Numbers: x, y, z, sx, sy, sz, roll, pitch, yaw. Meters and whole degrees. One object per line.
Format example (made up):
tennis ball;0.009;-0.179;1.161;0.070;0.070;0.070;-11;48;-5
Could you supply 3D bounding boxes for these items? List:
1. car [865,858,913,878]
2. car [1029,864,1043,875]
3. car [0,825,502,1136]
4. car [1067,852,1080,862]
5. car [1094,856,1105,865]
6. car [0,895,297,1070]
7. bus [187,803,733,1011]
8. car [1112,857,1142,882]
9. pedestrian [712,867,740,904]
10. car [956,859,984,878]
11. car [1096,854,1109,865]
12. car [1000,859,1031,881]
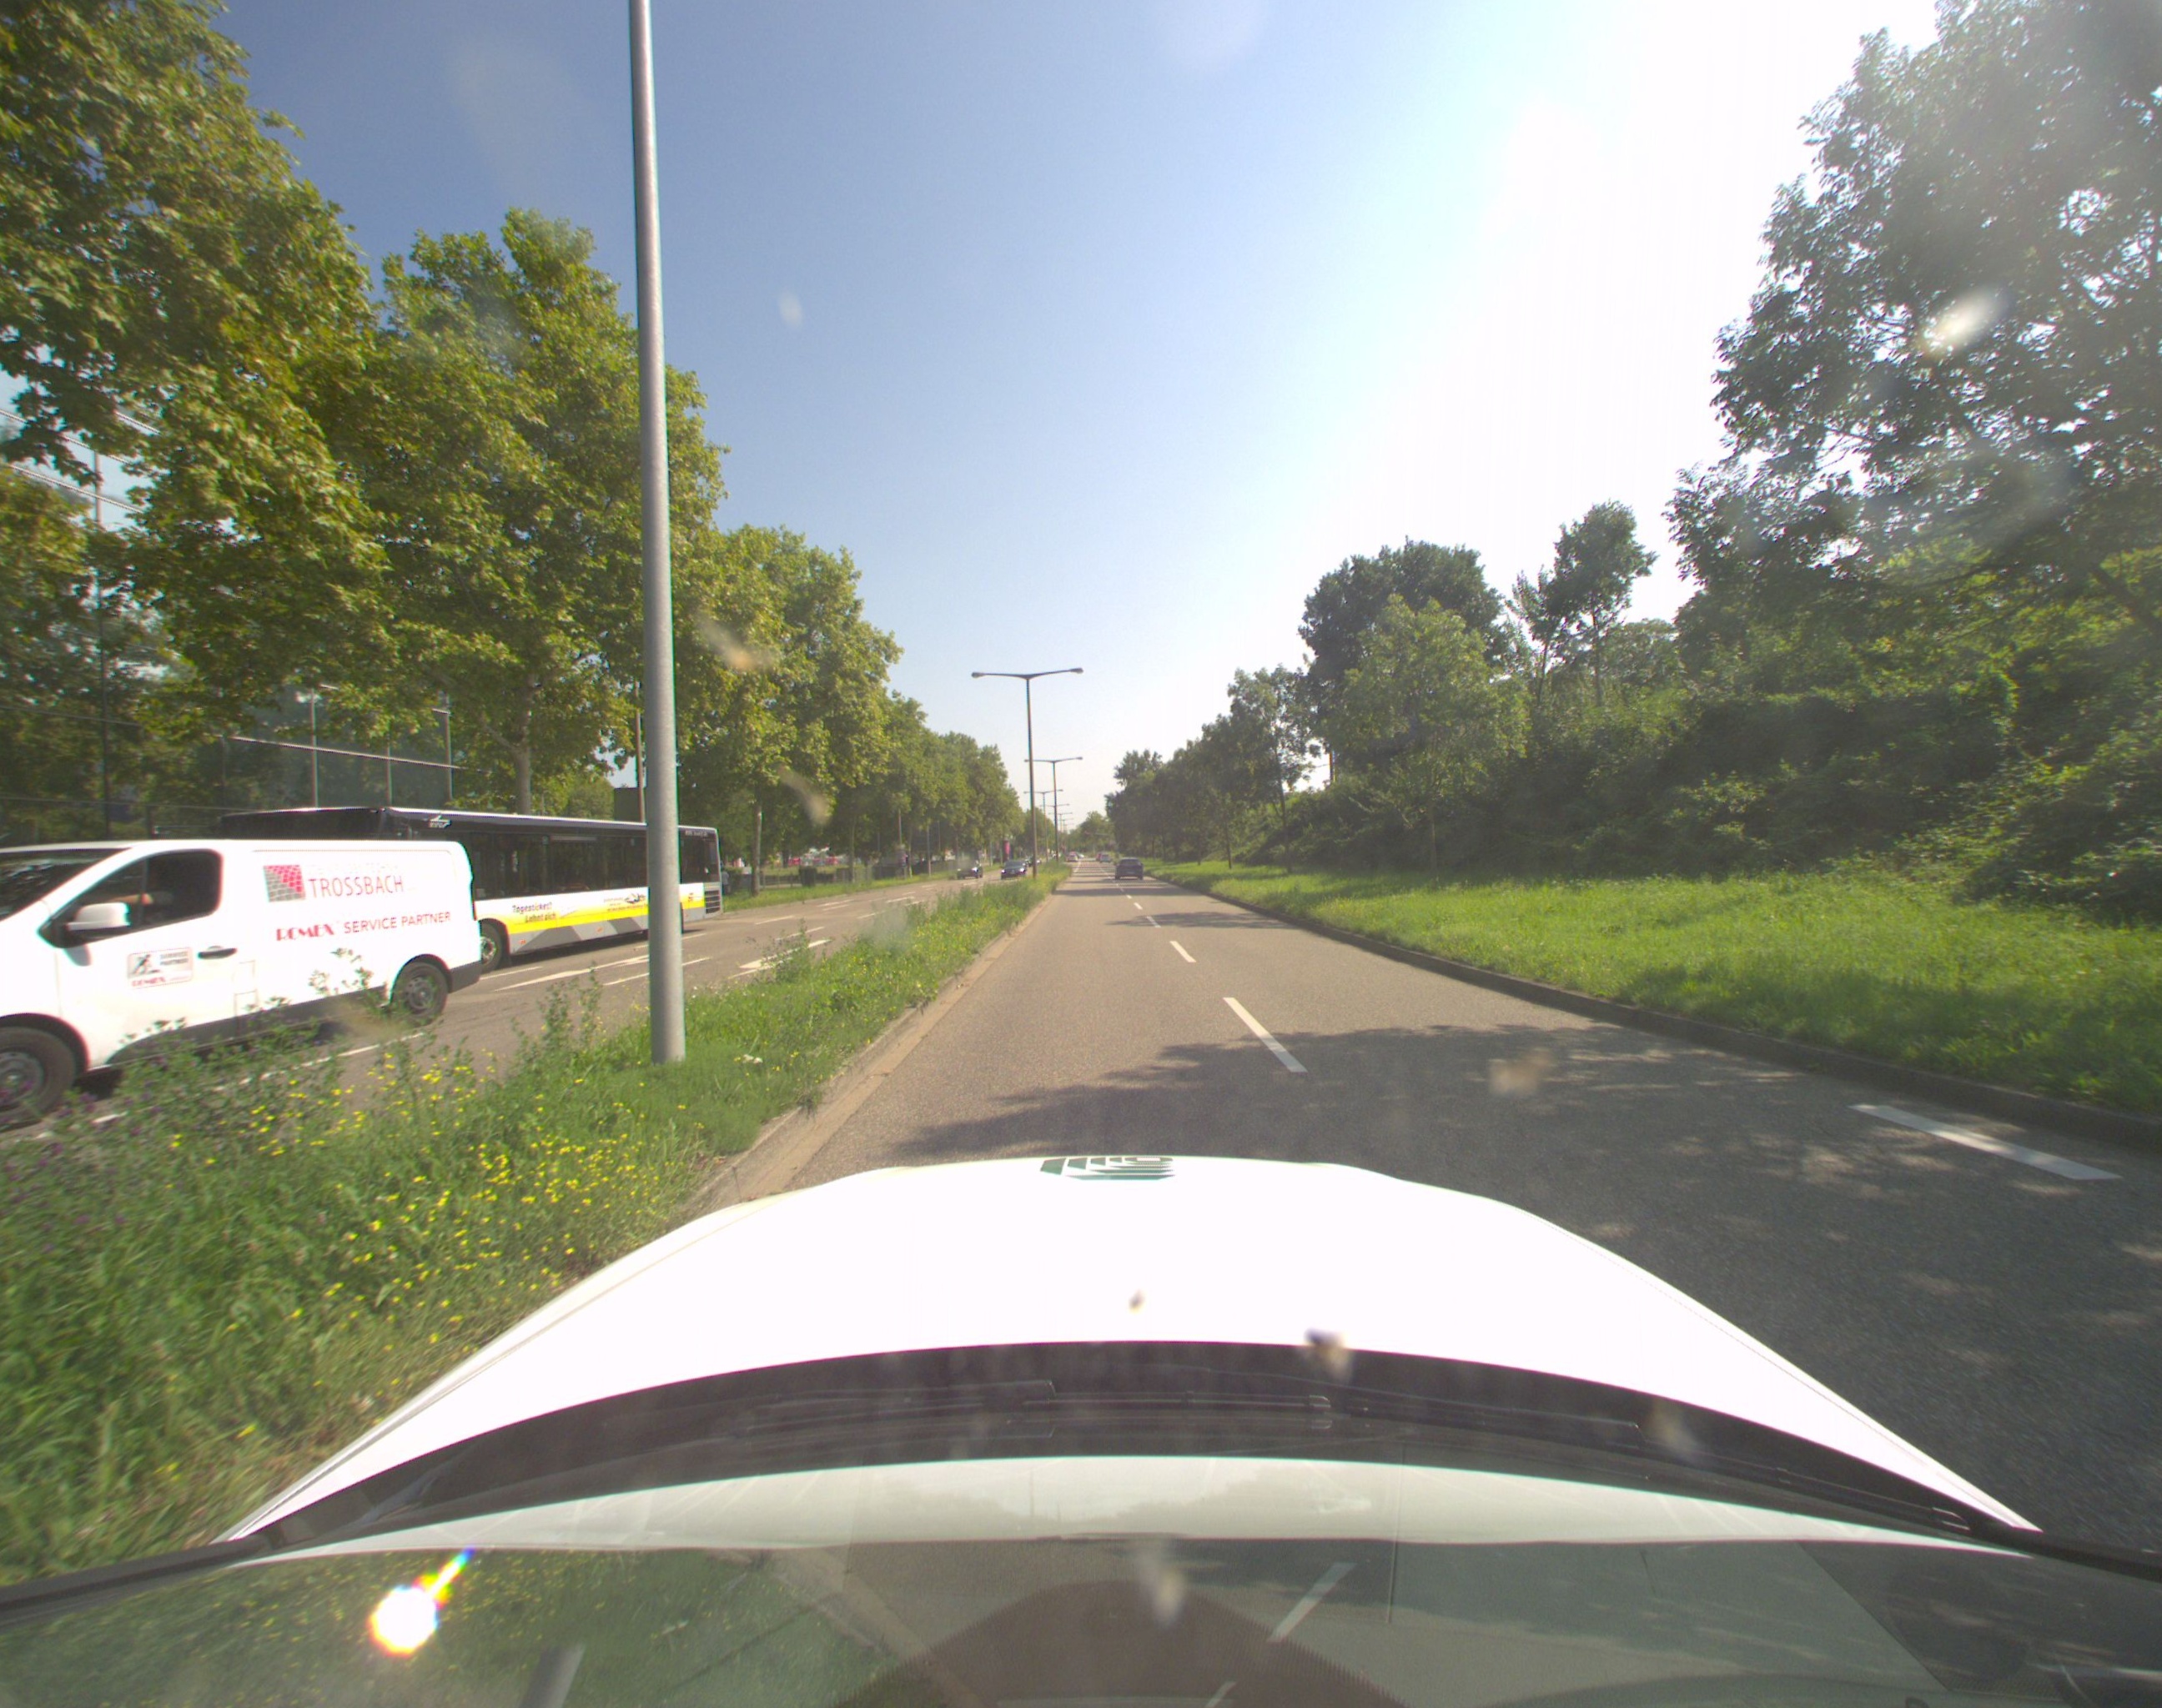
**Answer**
car;-24.545;1.744;104.092;5.569;2.336;2.278;-1;2;-2
car;-6.897;2.290;124.333;1.988;1.585;4.343;-2;-1;-2
car;-7.768;0.824;6.834;1.920;1.960;5.191;-3;1;1
car;-1.422;0.615;148.072;1.985;1.702;4.004;-3;-1;4
car;3.800;1.396;170.047;1.988;1.653;3.999;-1;3;-1
car;-10.867;1.291;7.693;1.774;1.511;5.212;-4;-1;0
bus;-10.903;0.787;16.687;2.653;2.694;10.904;-4;-1;0
car;3.027;0.996;53.910;1.774;1.427;4.001;-1;2;0
pedestrian;-20.397;1.786;46.830;1.252;2.013;1.022;1;3;43
car;-9.937;1.322;73.186;1.840;1.605;4.609;-1;-1;0
car;3.629;0.969;138.971;1.987;1.654;3.999;-3;-1;0
car;-4.887;1.161;61.520;1.839;1.490;4.644;-3;0;1
